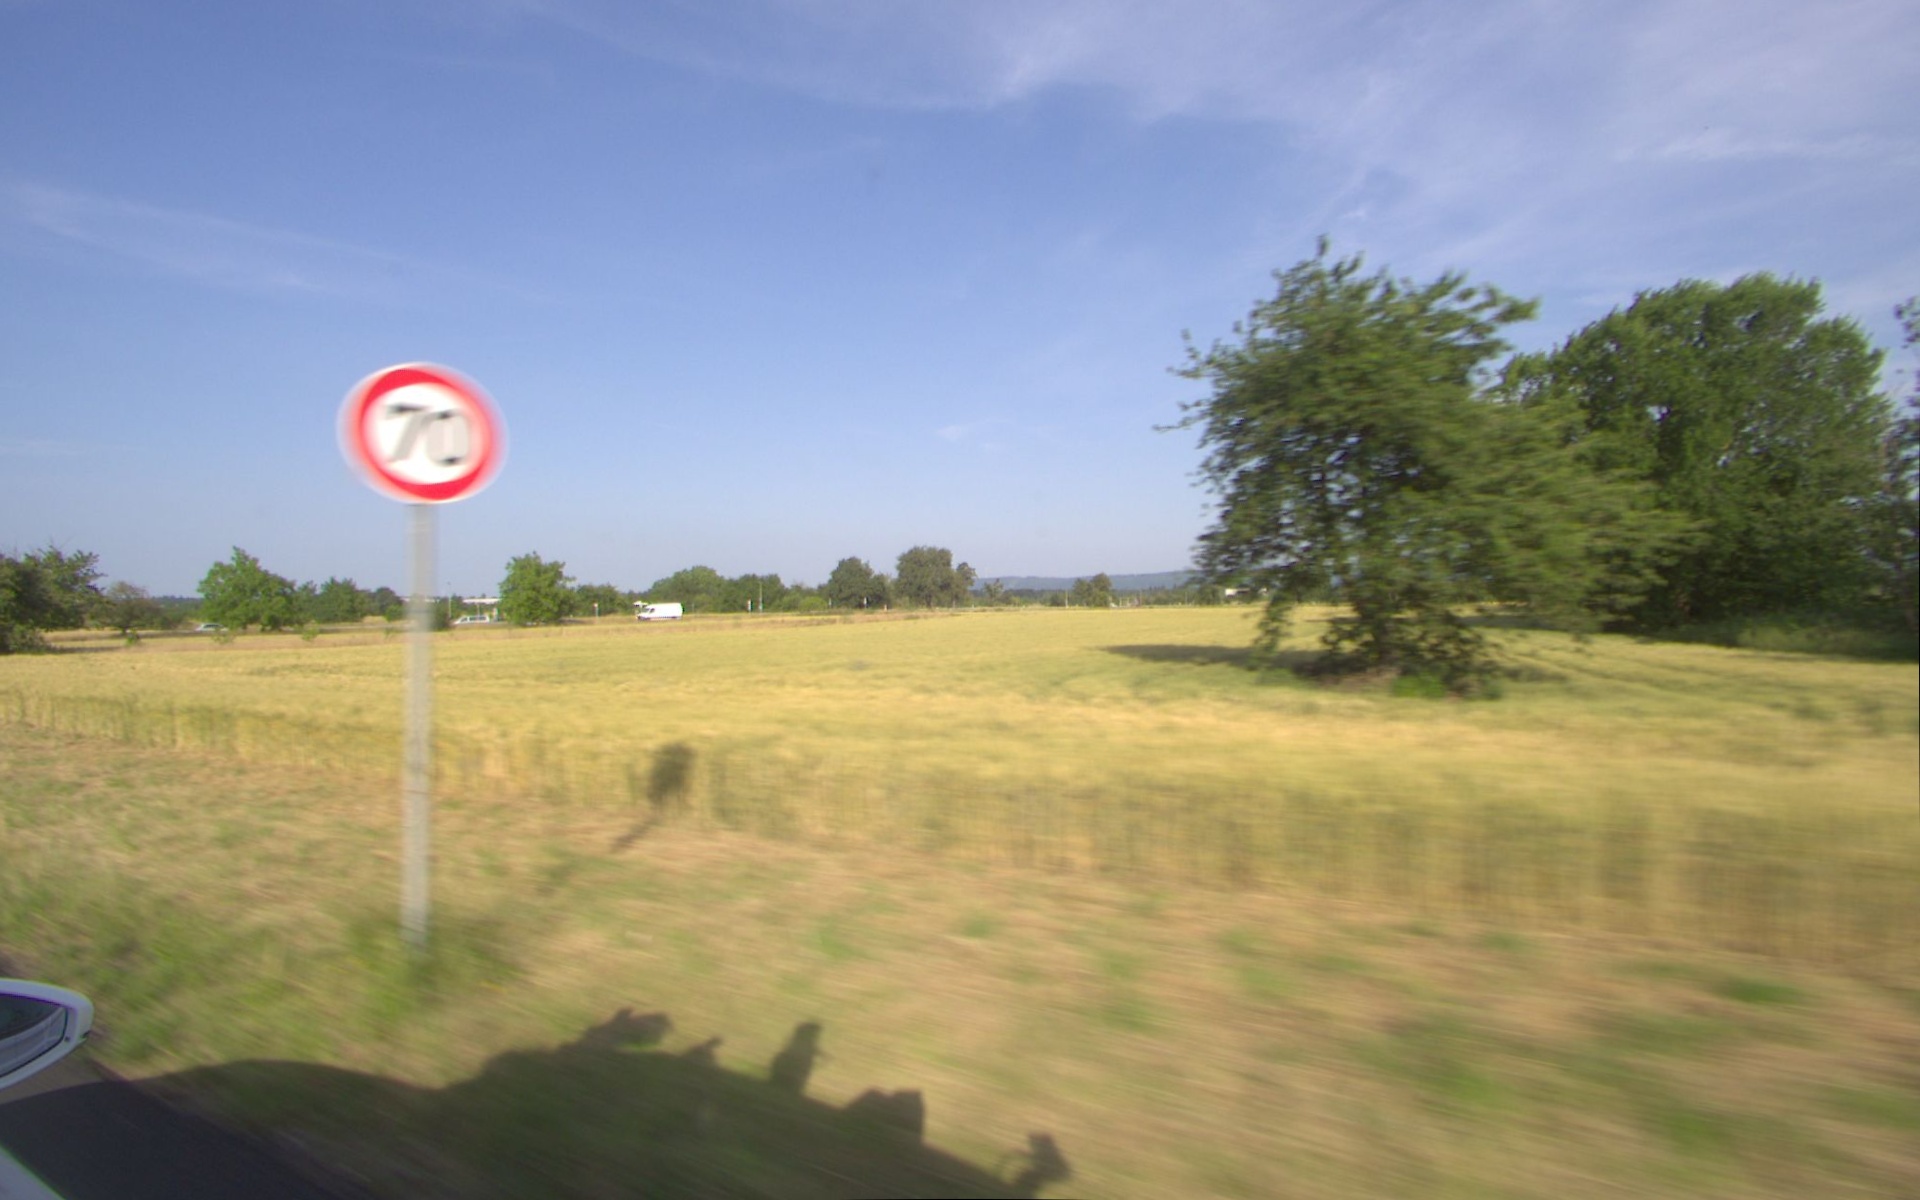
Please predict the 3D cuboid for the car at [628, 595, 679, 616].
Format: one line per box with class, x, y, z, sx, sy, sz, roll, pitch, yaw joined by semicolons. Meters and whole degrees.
car;-44.843;0.836;146.831;2.295;2.831;6.980;-1;-2;43
